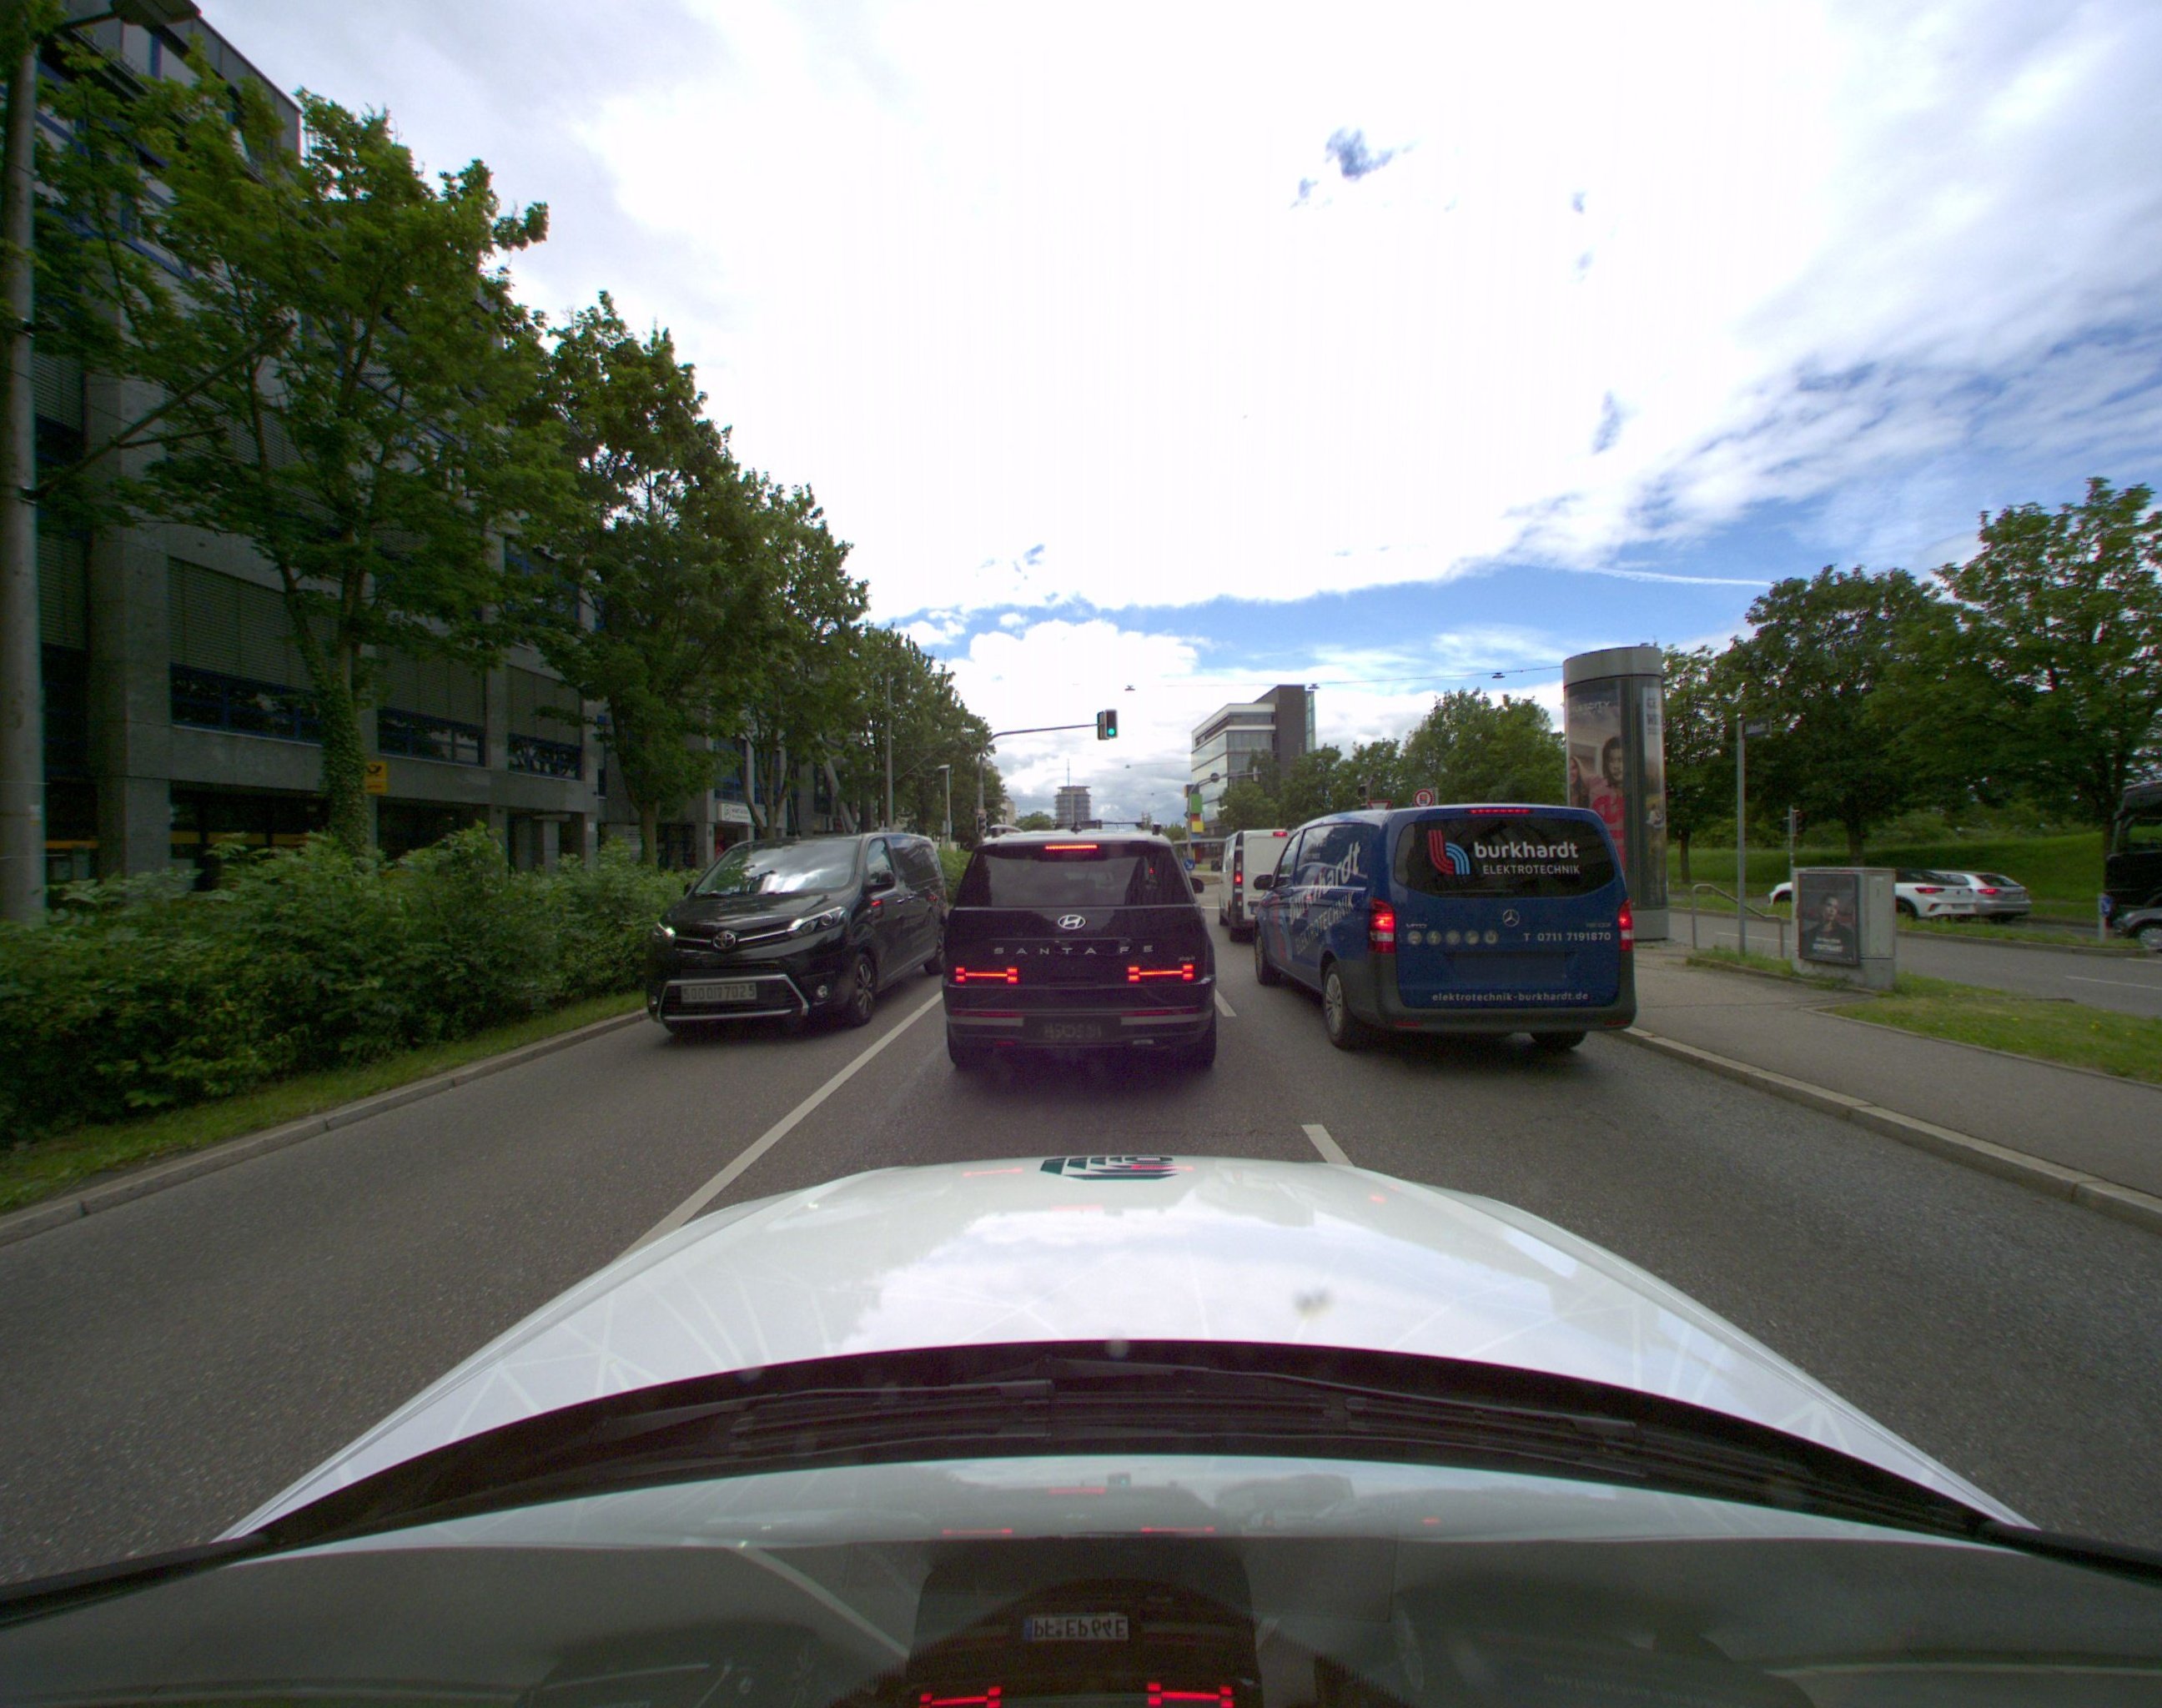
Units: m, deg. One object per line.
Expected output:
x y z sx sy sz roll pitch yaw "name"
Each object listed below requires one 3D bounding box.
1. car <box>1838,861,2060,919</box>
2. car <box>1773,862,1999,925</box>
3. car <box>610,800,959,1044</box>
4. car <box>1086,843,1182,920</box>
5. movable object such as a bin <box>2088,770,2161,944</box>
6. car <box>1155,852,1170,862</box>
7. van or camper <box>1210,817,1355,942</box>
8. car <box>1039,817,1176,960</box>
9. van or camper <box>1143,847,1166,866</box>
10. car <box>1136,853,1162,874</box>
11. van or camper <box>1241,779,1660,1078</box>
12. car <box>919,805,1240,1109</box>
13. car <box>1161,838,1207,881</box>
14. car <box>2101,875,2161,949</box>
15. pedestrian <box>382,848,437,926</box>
25.107 0.992 23.778 1.994 1.453 3.985 1 0 -11 "car"
21.774 1.013 22.280 1.994 1.453 3.985 1 0 -11 "car"
-2.838 0.591 9.168 1.986 1.948 4.738 -3 -1 2 "car"
1.453 0.643 20.483 1.764 1.717 4.353 -1 -1 12 "car"
26.267 0.004 15.510 2.860 3.903 8.536 -1 -1 -11 "movable object such as a bin"
13.183 0.519 131.717 1.987 1.684 3.998 -1 -1 -1 "car"
3.644 0.416 15.606 1.984 2.013 4.659 -1 0 5 "van or camper"
0.435 0.492 13.563 1.908 2.003 3.881 -1 0 2 "car"
10.304 0.309 113.677 1.979 2.547 6.603 -1 -1 14 "van or camper"
5.605 0.791 67.556 1.986 1.618 4.001 -1 -1 2 "car"
2.910 0.489 7.849 1.853 1.911 5.034 -1 0 2 "van or camper"
0.052 0.614 6.772 1.862 1.760 3.881 -1 0 2 "car"
5.027 0.270 40.224 1.985 2.014 4.003 -1 -1 3 "car"
23.012 1.214 15.529 1.994 1.453 3.985 1 0 -11 "car"
-16.801 0.819 20.389 0.771 1.894 0.731 -1 -1 1 "pedestrian"
